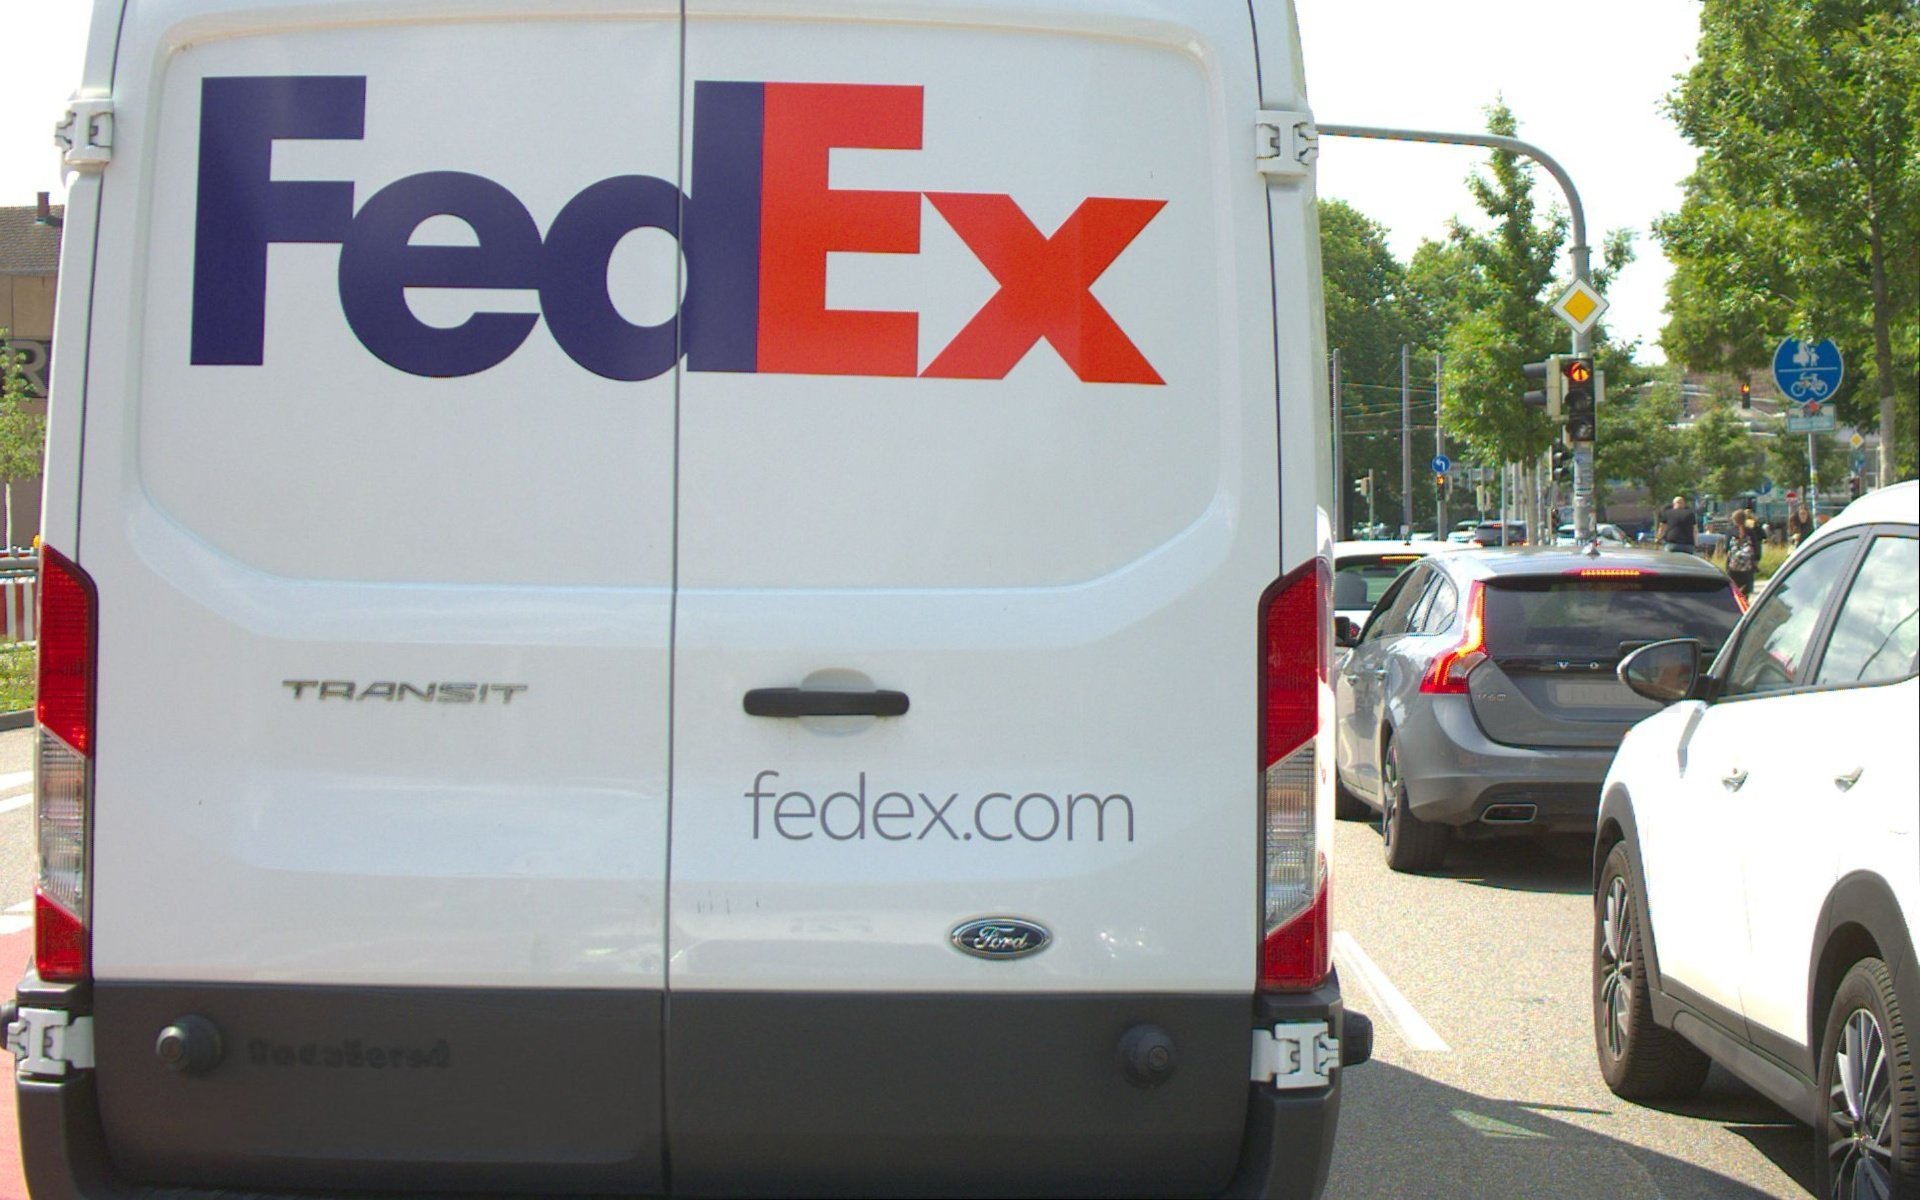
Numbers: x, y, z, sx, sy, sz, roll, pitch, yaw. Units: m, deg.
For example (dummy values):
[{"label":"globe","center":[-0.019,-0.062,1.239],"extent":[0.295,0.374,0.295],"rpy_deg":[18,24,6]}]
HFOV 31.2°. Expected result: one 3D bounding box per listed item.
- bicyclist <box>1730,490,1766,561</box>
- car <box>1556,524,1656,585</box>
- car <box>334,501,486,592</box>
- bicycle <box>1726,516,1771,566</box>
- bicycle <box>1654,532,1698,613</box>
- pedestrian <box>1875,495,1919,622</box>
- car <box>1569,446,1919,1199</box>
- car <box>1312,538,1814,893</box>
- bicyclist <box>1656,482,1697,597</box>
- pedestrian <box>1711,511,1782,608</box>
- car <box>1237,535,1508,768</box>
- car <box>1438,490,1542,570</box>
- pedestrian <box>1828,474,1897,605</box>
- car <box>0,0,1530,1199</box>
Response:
[{"label":"bicyclist","center":[16.409,-1.550,71.596],"extent":[0.550,1.469,0.971],"rpy_deg":[0,1,2]},{"label":"car","center":[19.472,-1.373,103.536],"extent":[1.996,1.787,4.366],"rpy_deg":[0,1,24]},{"label":"car","center":[-12.527,-1.207,78.568],"extent":[1.995,2.007,3.998],"rpy_deg":[0,1,14]},{"label":"bicycle","center":[16.406,-1.237,71.548],"extent":[0.546,1.027,1.927],"rpy_deg":[0,1,2]},{"label":"bicycle","center":[11.671,-0.464,56.073],"extent":[0.602,1.285,2.070],"rpy_deg":[0,1,9]},{"label":"pedestrian","center":[15.170,-0.673,55.008],"extent":[0.845,2.007,0.741],"rpy_deg":[0,1,-1]},{"label":"car","center":[2.564,0.530,7.648],"extent":[1.798,1.681,4.000],"rpy_deg":[0,1,1]},{"label":"car","center":[2.726,0.453,16.351],"extent":[1.798,1.456,3.838],"rpy_deg":[0,1,1]},{"label":"bicyclist","center":[11.650,-0.990,55.927],"extent":[0.591,1.838,1.122],"rpy_deg":[0,2,9]},{"label":"pedestrian","center":[11.322,-0.590,49.482],"extent":[0.845,1.384,0.741],"rpy_deg":[0,1,-1]},{"label":"car","center":[2.704,0.288,23.107],"extent":[1.484,1.423,3.433],"rpy_deg":[0,1,1]},{"label":"car","center":[13.874,-1.819,89.823],"extent":[2.094,2.007,4.640],"rpy_deg":[0,1,16]},{"label":"pedestrian","center":[14.247,-0.961,54.284],"extent":[0.844,2.051,0.741],"rpy_deg":[-1,1,-7]},{"label":"car","center":[-0.457,0.043,7.310],"extent":[2.140,2.643,5.705],"rpy_deg":[0,1,-3]}]
